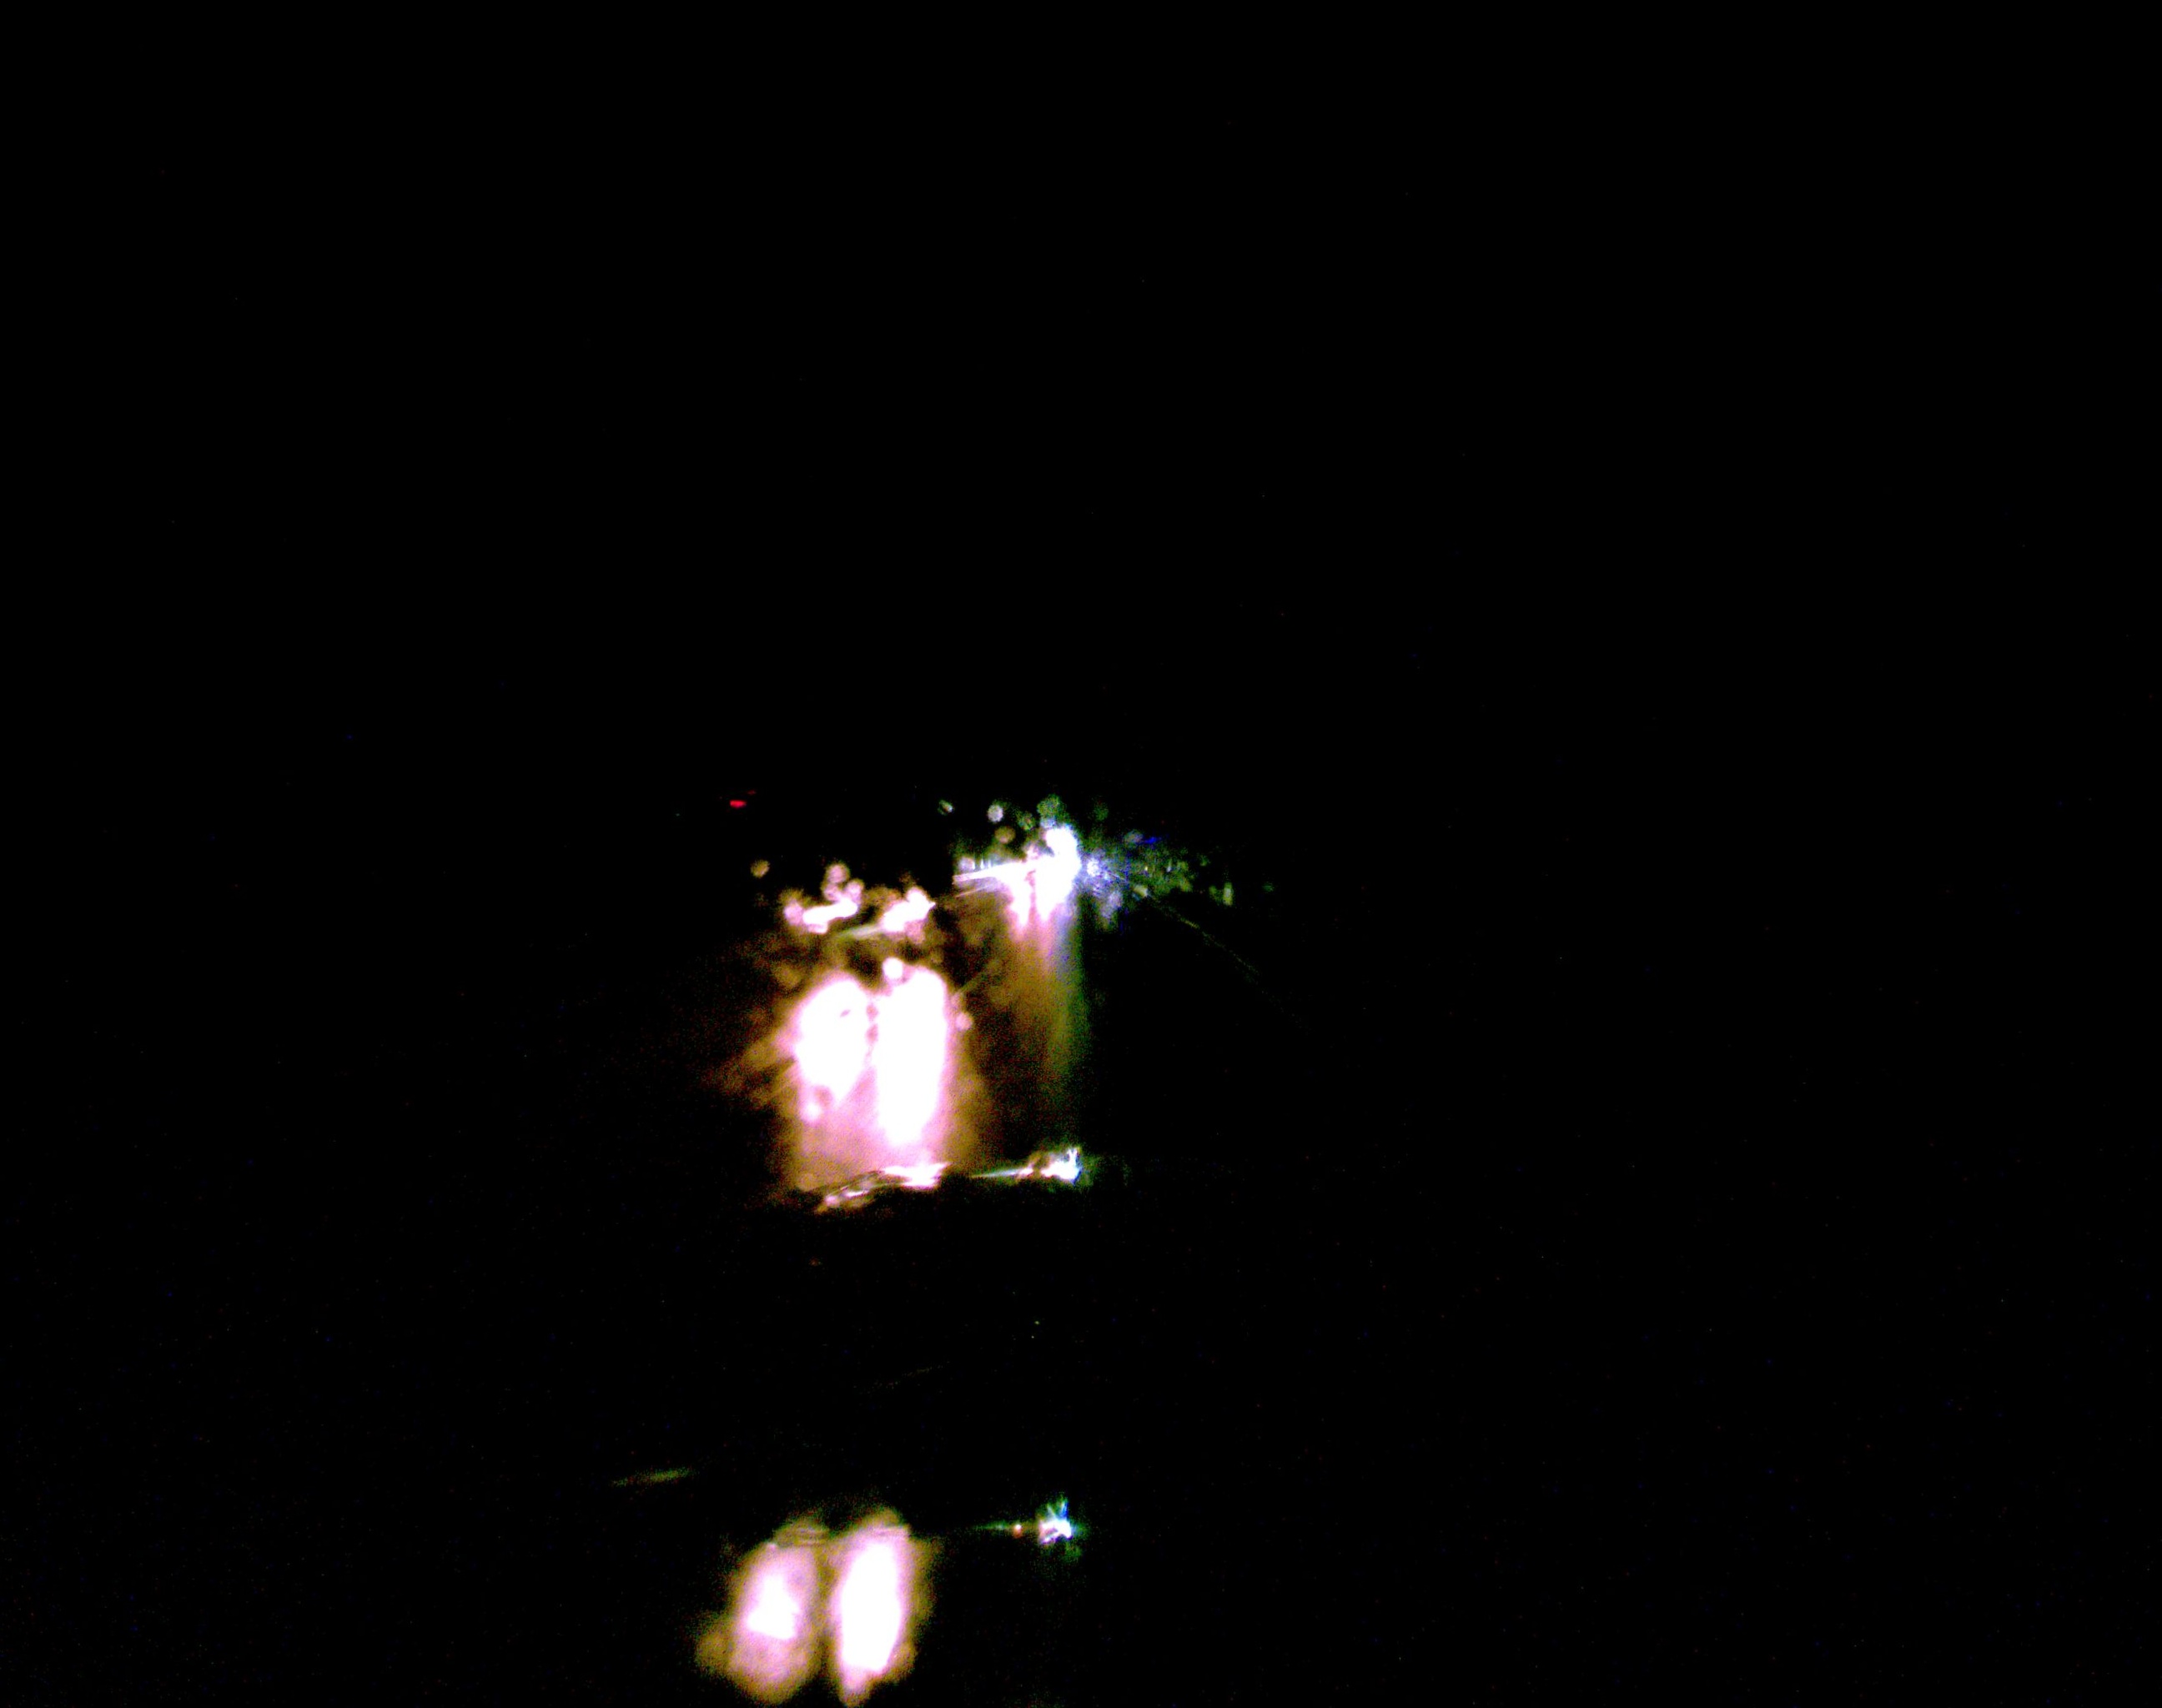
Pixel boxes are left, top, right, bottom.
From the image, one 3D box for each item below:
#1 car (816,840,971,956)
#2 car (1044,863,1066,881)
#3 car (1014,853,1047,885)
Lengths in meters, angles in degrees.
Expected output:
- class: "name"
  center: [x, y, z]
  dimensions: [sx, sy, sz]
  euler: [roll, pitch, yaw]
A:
- class: "car"
  center: [-3.138, 0.677, 14.432]
  dimensions: [1.736, 1.760, 3.879]
  euler: [-1, 0, 1]
- class: "car"
  center: [-2.379, 1.639, 76.143]
  dimensions: [1.879, 1.576, 4.049]
  euler: [-1, 0, 0]
- class: "car"
  center: [-3.005, 0.887, 48.835]
  dimensions: [1.737, 1.823, 3.877]
  euler: [-1, 0, 0]
